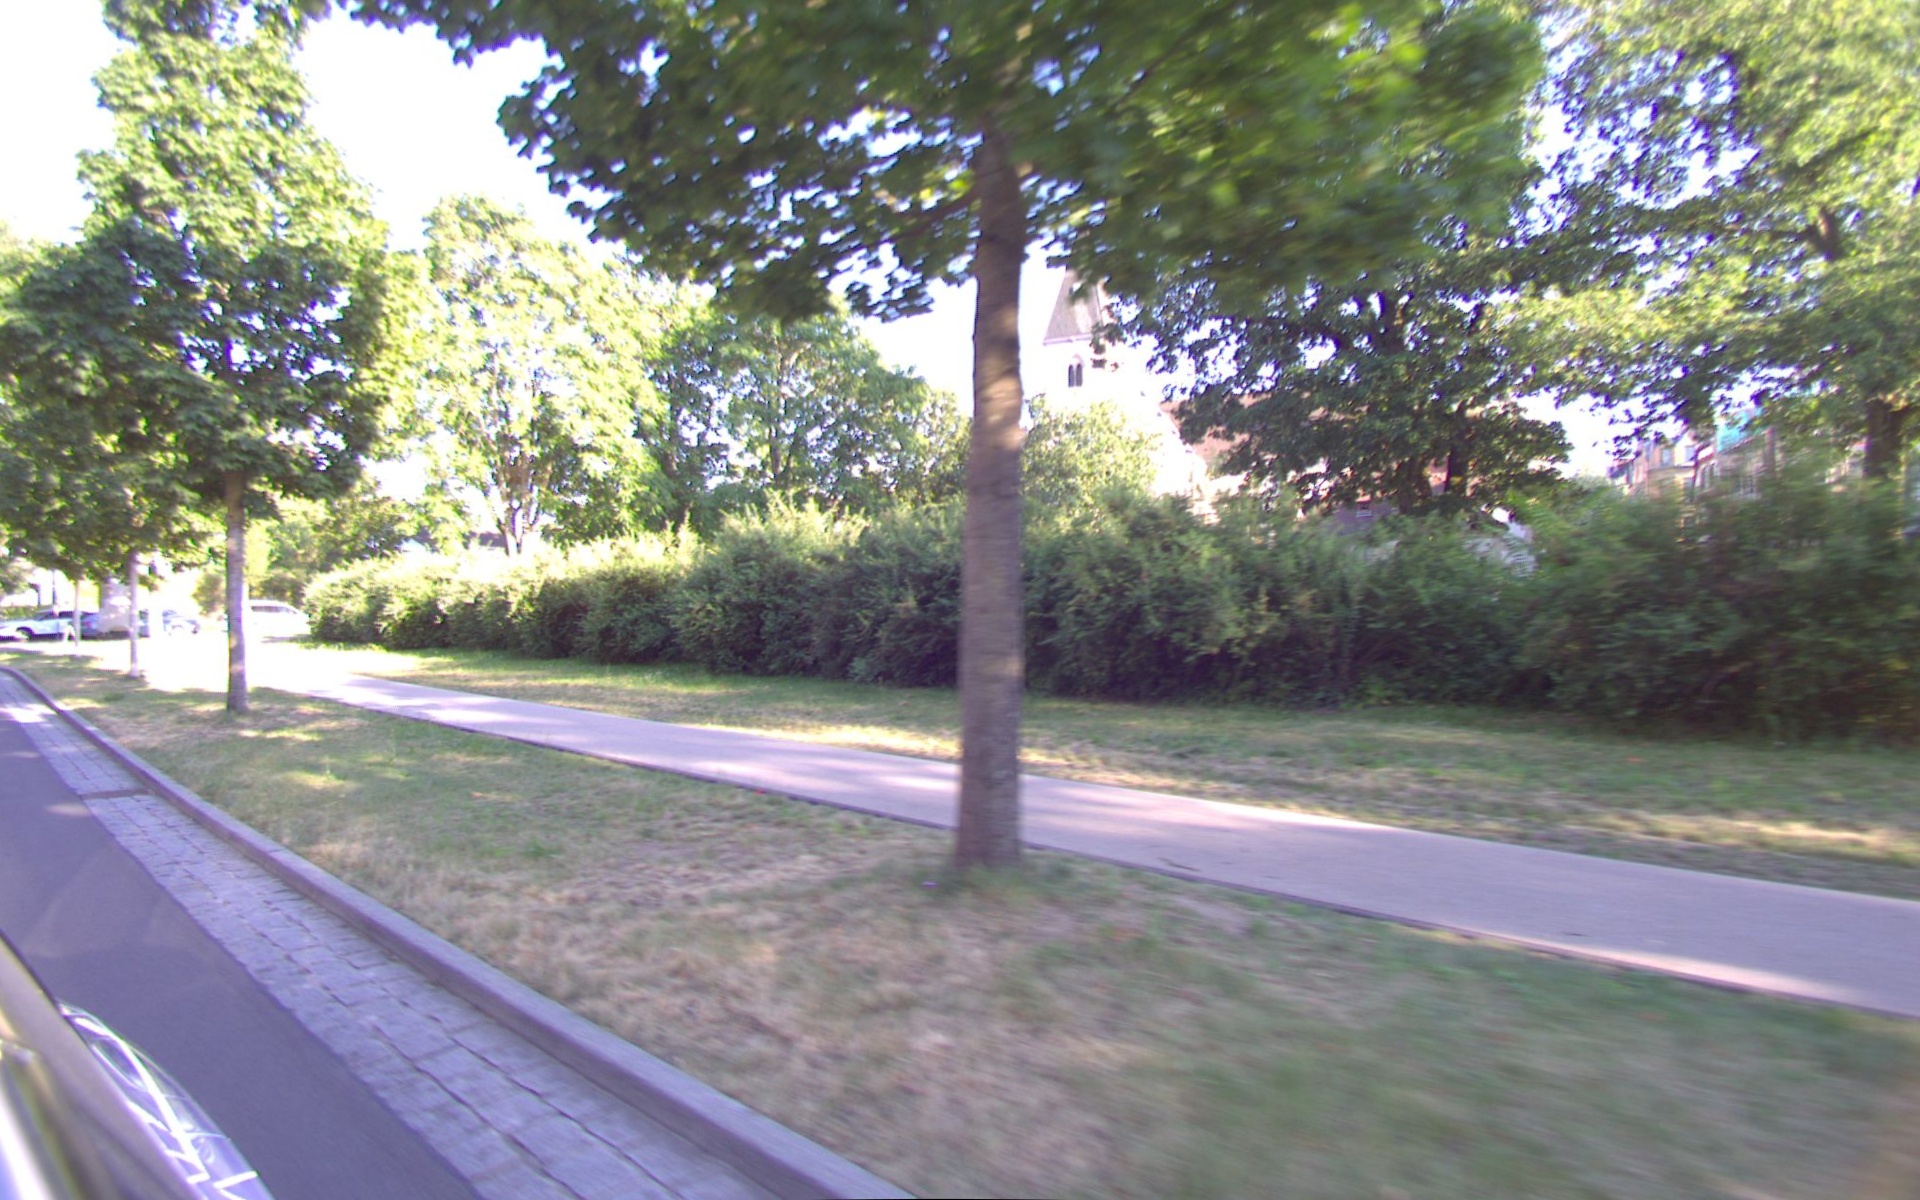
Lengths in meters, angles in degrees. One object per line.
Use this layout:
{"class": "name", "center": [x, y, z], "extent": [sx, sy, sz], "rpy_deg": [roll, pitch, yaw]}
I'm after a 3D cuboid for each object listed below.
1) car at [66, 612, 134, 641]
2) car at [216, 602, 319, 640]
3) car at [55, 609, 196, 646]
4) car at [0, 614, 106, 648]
{"class": "car", "center": [-47.095, 1.425, 55.421], "extent": [3.336, 1.502, 1.624], "rpy_deg": [1, 1, 24]}
{"class": "car", "center": [-36.654, 1.089, 53.667], "extent": [1.753, 1.931, 4.201], "rpy_deg": [-1, 0, 26]}
{"class": "car", "center": [-39.273, 1.284, 47.782], "extent": [1.858, 1.570, 4.796], "rpy_deg": [-1, 0, 26]}
{"class": "car", "center": [-44.364, 1.493, 48.966], "extent": [1.775, 1.546, 4.305], "rpy_deg": [-2, -1, 28]}
